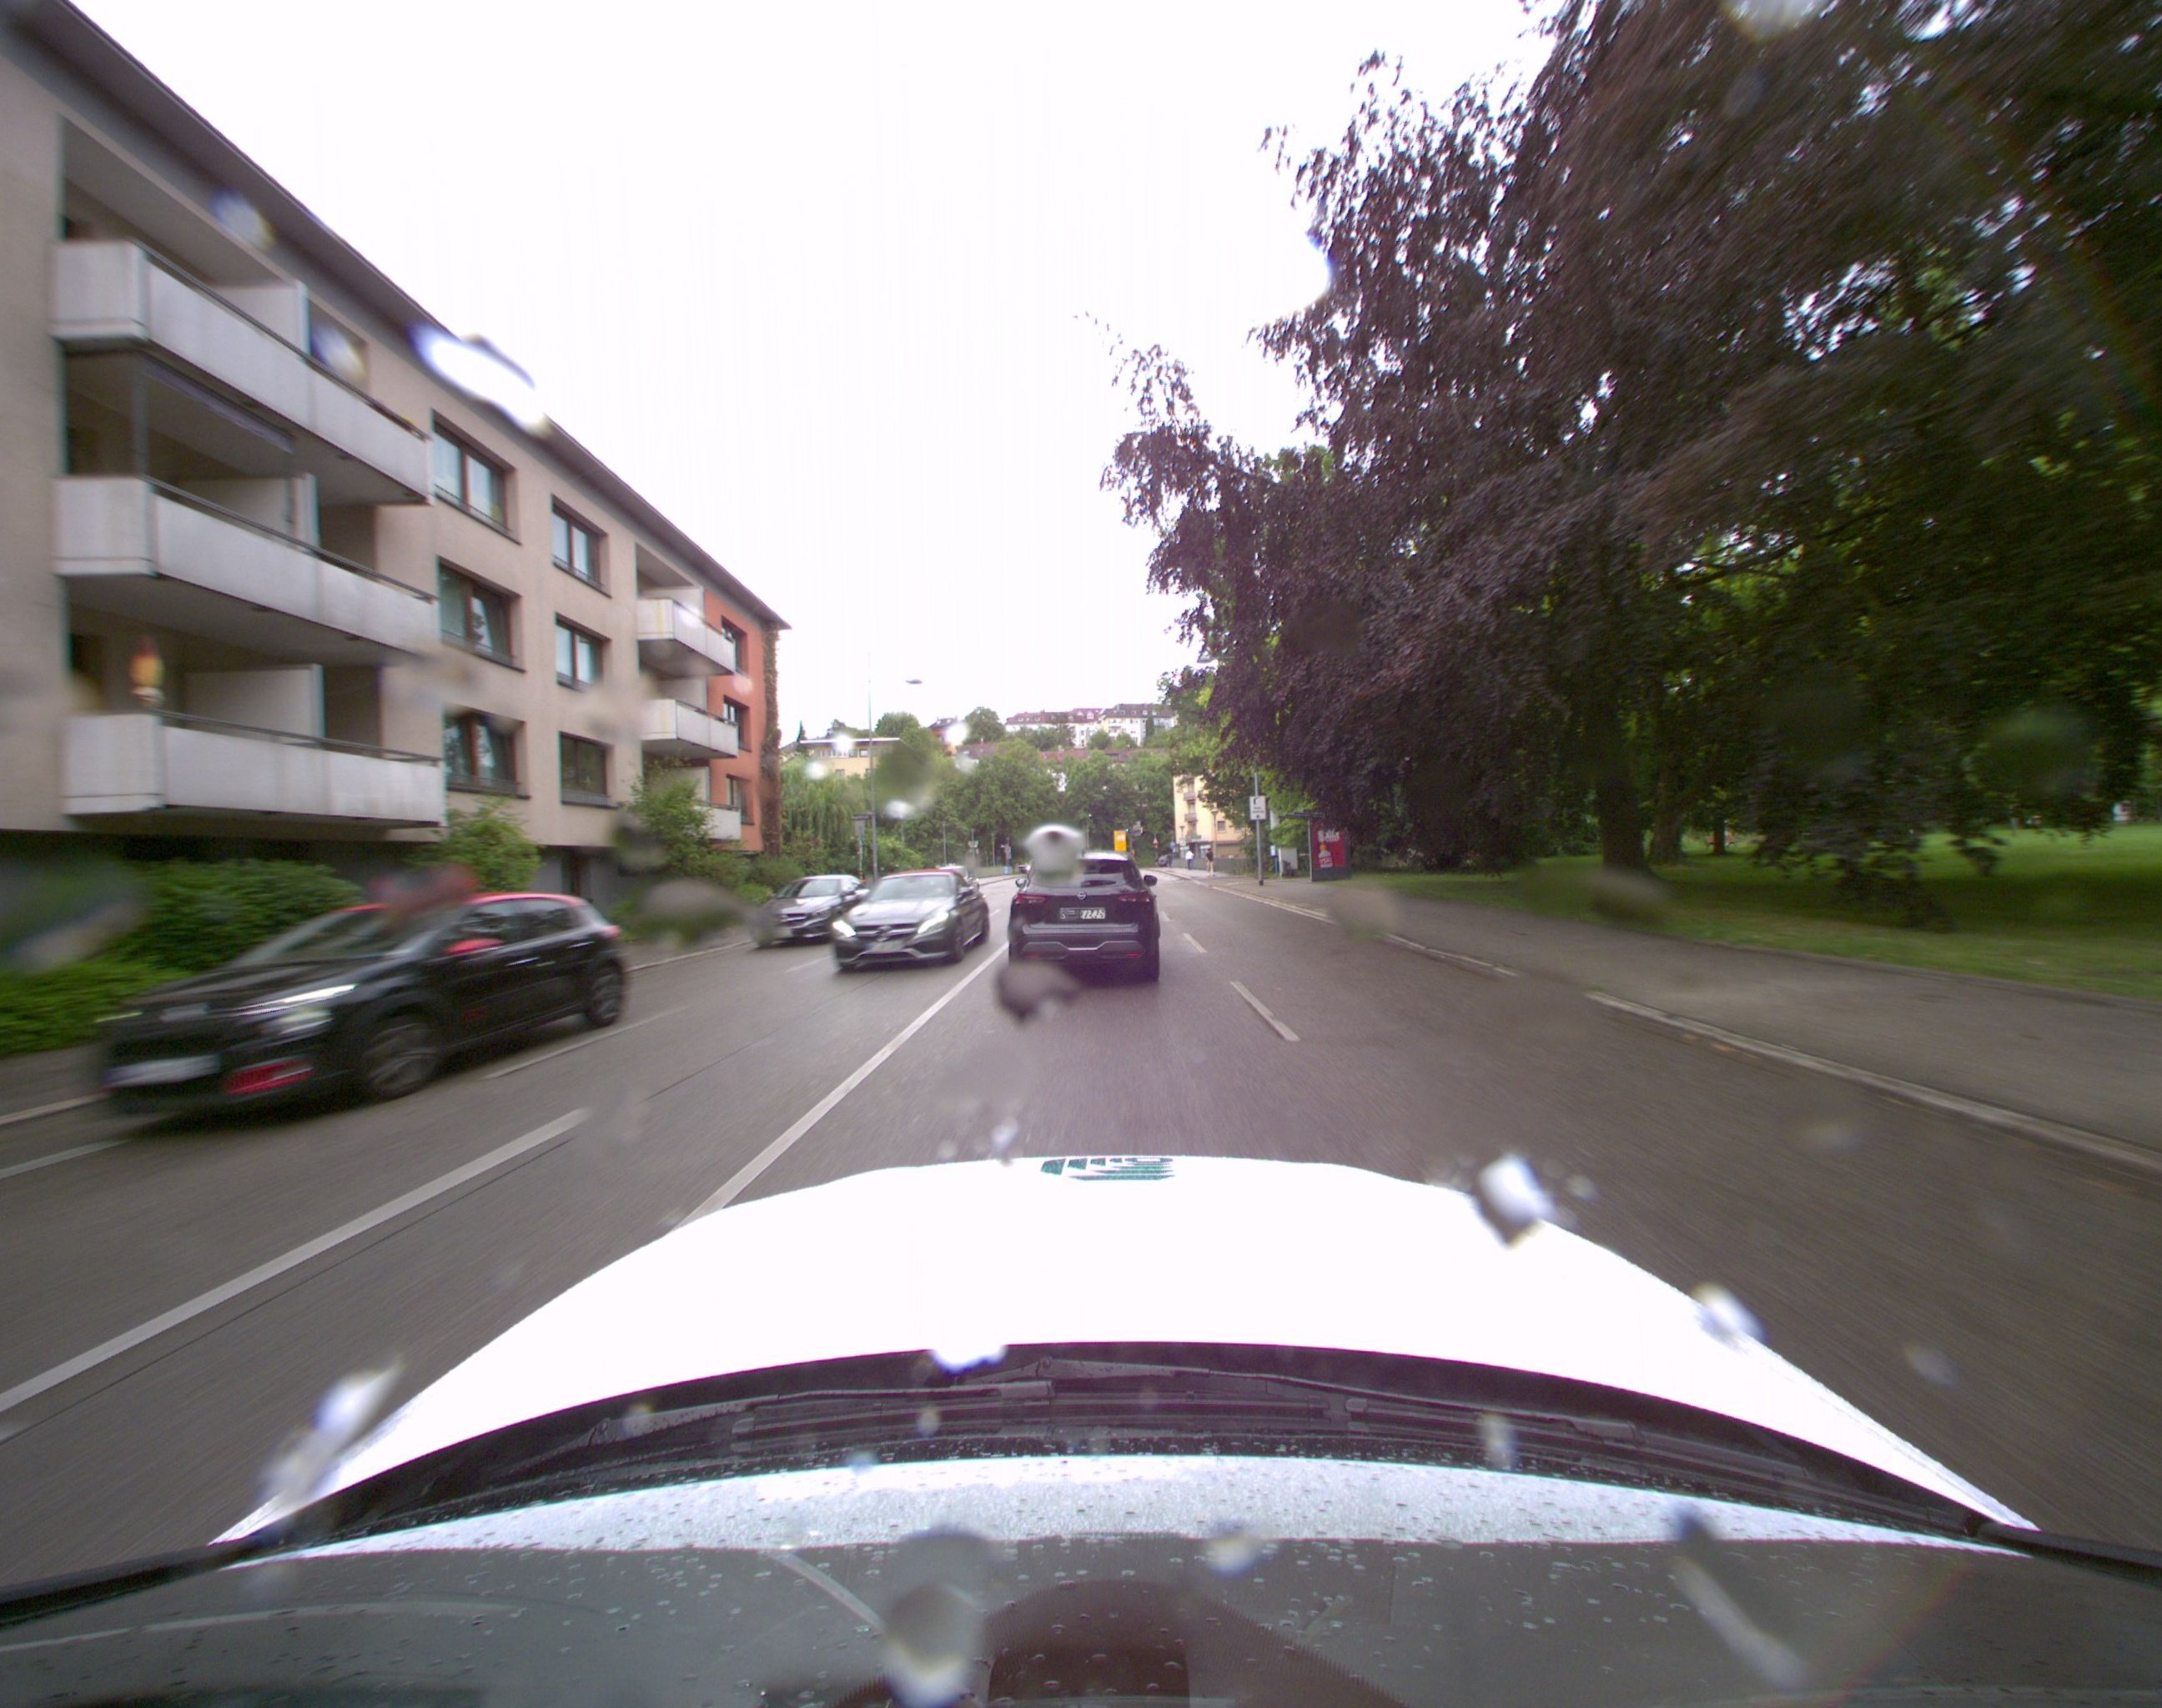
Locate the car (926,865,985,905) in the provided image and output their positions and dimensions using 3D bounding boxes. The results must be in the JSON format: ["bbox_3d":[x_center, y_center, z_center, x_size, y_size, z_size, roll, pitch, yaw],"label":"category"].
[{"bbox_3d":[-5.312,1.284,34.880,1.807,1.415,4.047,-4,0,0],"label":"car"}]

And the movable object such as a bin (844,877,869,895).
[{"bbox_3d":[-11.673,1.643,42.366,0.962,0.877,0.833,-3,-1,1],"label":"movable object such as a bin"}]

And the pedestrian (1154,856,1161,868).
[{"bbox_3d":[10.619,1.144,112.997,0.859,1.619,0.840,-4,-1,1],"label":"pedestrian"}]

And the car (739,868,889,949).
[{"bbox_3d":[-5.979,1.147,18.920,1.807,1.415,4.683,-4,0,1],"label":"car"}]

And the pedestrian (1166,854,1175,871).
[{"bbox_3d":[9.385,0.912,85.283,0.758,1.677,0.781,-4,0,1],"label":"pedestrian"}]

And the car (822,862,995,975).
[{"bbox_3d":[-2.668,0.938,13.681,1.787,1.415,4.336,-4,0,1],"label":"car"}]

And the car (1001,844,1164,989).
[{"bbox_3d":[0.075,0.705,11.216,1.804,1.603,4.001,-1,0,2],"label":"car"}]

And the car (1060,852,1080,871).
[{"bbox_3d":[-1.411,0.989,110.005,2.281,2.308,6.511,-4,0,1],"label":"car"}]

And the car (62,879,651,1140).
[{"bbox_3d":[-5.833,1.091,7.344,1.680,1.491,3.891,-4,0,1],"label":"car"}]

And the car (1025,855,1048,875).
[{"bbox_3d":[-3.879,0.931,71.511,1.808,1.579,4.230,-4,0,-1],"label":"car"}]

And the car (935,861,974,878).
[{"bbox_3d":[-15.937,1.945,103.109,4.738,1.854,1.995,-2,1,-7],"label":"car"}]

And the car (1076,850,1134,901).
[{"bbox_3d":[0.808,0.678,27.679,1.804,1.603,4.001,-1,0,2],"label":"car"}]

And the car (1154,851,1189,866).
[{"bbox_3d":[12.647,0.625,113.539,4.388,1.649,1.868,-3,-1,-24],"label":"car"}]

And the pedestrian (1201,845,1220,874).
[{"bbox_3d":[8.037,0.343,50.590,0.844,1.676,1.168,-5,-1,1],"label":"pedestrian"}]

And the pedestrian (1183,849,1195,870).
[{"bbox_3d":[9.203,0.496,69.289,0.777,1.752,1.061,-3,-1,1],"label":"pedestrian"}]
